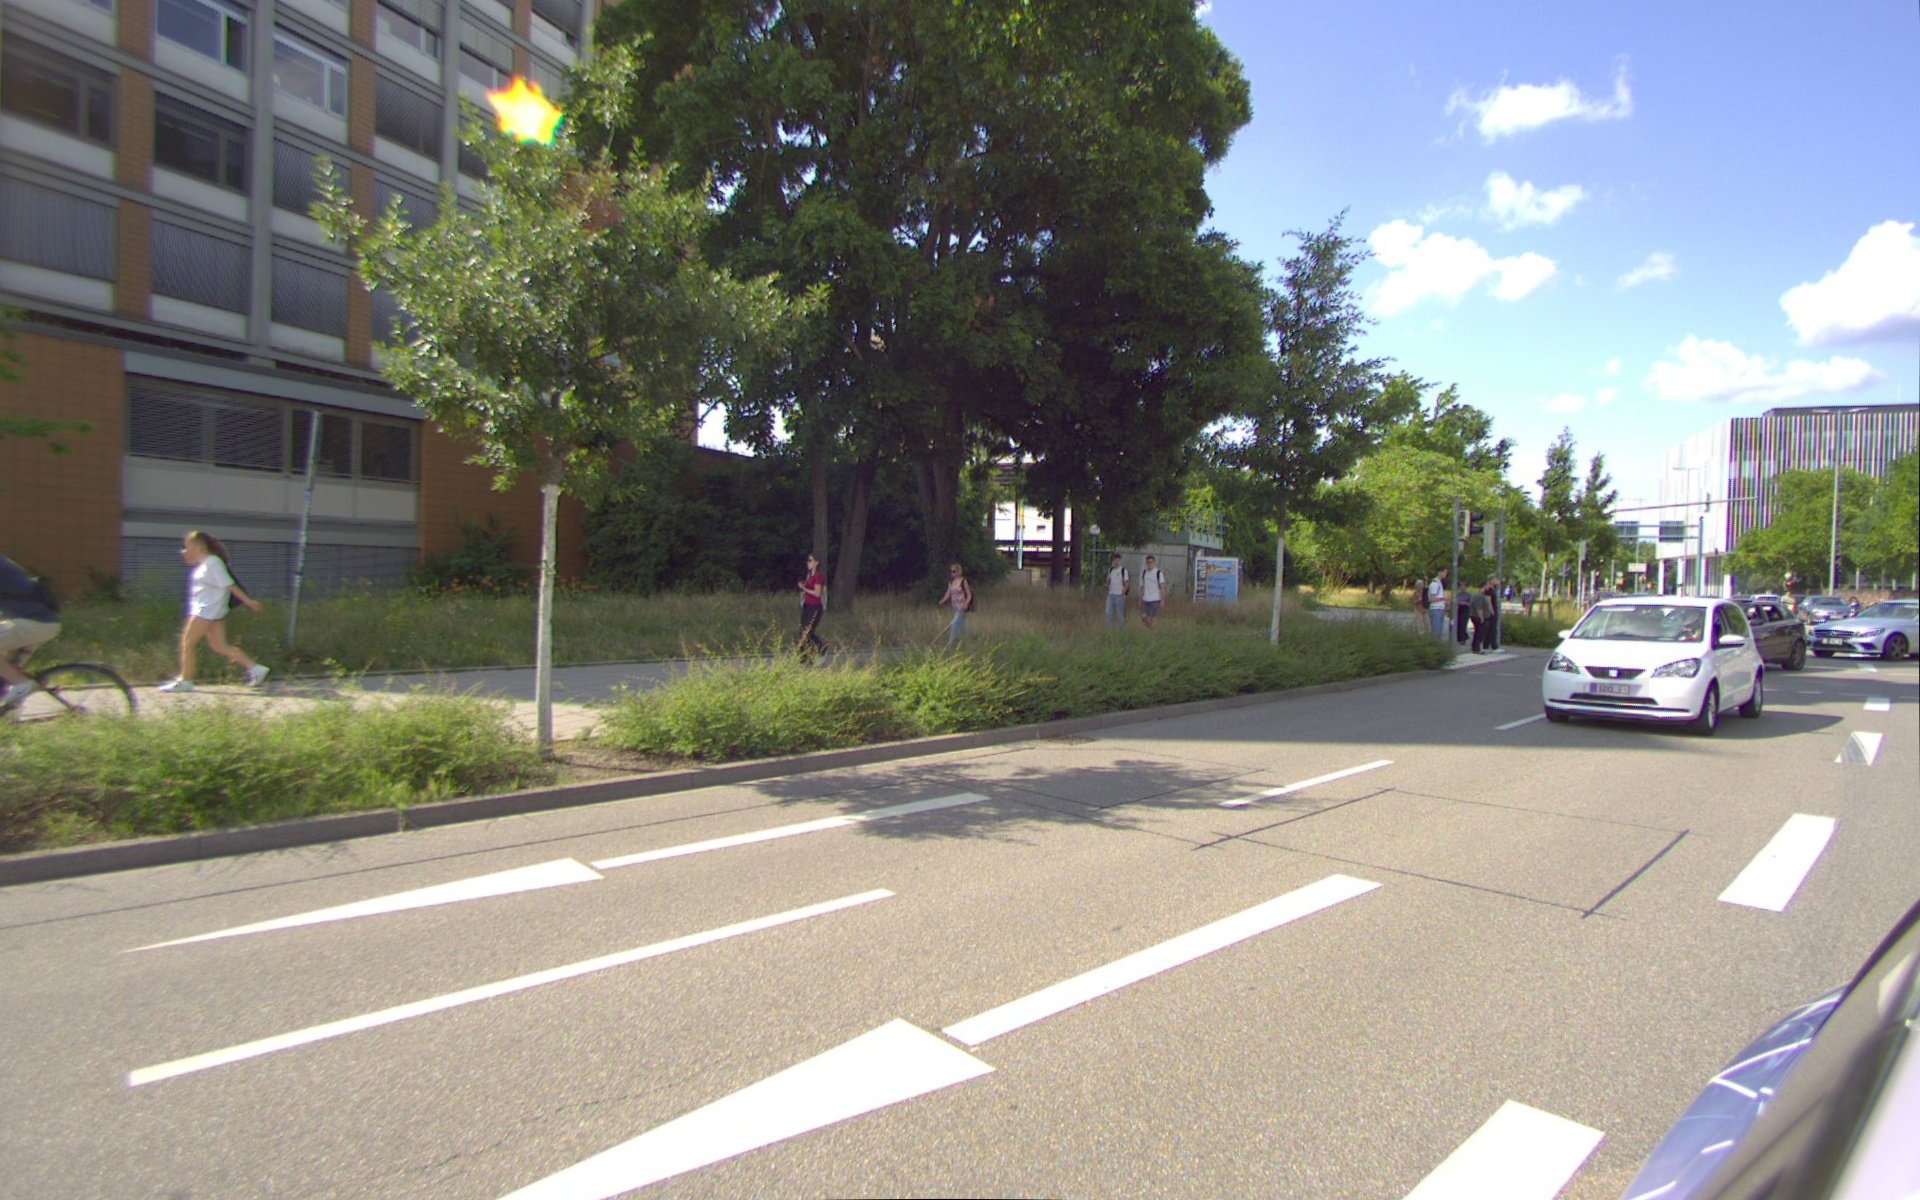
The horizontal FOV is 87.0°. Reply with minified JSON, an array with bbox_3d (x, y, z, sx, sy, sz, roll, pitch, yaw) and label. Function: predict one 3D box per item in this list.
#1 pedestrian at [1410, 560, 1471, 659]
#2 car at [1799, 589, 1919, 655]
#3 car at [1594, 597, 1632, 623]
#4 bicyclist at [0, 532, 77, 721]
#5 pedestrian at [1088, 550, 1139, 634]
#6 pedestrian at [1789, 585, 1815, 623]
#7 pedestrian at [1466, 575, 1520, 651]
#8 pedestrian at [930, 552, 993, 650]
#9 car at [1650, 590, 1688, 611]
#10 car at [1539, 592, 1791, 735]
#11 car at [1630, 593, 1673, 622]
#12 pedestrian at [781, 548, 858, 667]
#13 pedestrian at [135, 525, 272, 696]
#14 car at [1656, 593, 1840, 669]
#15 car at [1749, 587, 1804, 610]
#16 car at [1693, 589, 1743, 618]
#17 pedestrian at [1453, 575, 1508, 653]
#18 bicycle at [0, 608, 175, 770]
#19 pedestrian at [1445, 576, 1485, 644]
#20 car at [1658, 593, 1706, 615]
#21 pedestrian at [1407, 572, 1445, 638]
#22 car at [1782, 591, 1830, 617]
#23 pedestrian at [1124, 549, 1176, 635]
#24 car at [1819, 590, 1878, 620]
[{"bbox_3d":[10.277,0.192,21.664,0.755,2.039,0.963,0,0,-43],"label":"pedestrian"},{"bbox_3d":[23.114,0.494,24.274,4.661,1.473,1.940,0,1,-8],"label":"car"},{"bbox_3d":[39.203,0.569,60.722,1.815,1.481,3.950,1,1,35],"label":"car"},{"bbox_3d":[-6.571,0.160,6.823,0.907,1.235,0.636,1,3,-41],"label":"bicyclist"},{"bbox_3d":[3.263,-0.177,21.466,0.614,1.720,0.876,5,4,44],"label":"pedestrian"},{"bbox_3d":[39.422,0.179,47.381,0.731,1.736,0.868,0,0,27],"label":"pedestrian"},{"bbox_3d":[12.631,0.298,23.993,0.755,1.757,0.926,0,0,-43],"label":"pedestrian"},{"bbox_3d":[0.025,0.006,17.721,0.614,1.642,0.876,5,4,44],"label":"pedestrian"},{"bbox_3d":[44.718,-0.014,63.834,1.898,1.148,4.052,1,3,35],"label":"car"},{"bbox_3d":[8.659,0.635,12.304,3.931,1.439,1.652,0,1,-42],"label":"car"},{"bbox_3d":[36.833,0.361,53.863,1.816,1.481,3.949,1,1,36],"label":"car"},{"bbox_3d":[-2.035,0.092,14.656,0.874,1.642,0.615,0,4,-41],"label":"pedestrian"},{"bbox_3d":[-7.704,0.081,10.317,1.077,1.642,0.615,0,4,-41],"label":"pedestrian"},{"bbox_3d":[16.039,0.558,20.554,4.052,1.389,1.705,0,1,-33],"label":"car"},{"bbox_3d":[50.451,-0.104,62.606,1.761,1.371,3.966,0,1,25],"label":"car"},{"bbox_3d":[39.867,0.158,53.284,1.814,1.481,3.952,1,1,33],"label":"car"},{"bbox_3d":[12.068,0.313,23.477,0.755,1.757,0.926,0,0,-43],"label":"pedestrian"},{"bbox_3d":[-6.572,0.590,6.866,1.927,0.981,0.849,0,4,-41],"label":"bicycle"},{"bbox_3d":[13.156,0.253,26.361,0.765,1.757,0.708,0,0,41],"label":"pedestrian"},{"bbox_3d":[41.408,0.196,58.107,1.582,1.148,3.597,1,1,25],"label":"car"},{"bbox_3d":[12.527,0.131,27.182,0.765,1.757,0.708,0,0,41],"label":"pedestrian"},{"bbox_3d":[47.051,0.202,56.349,1.722,1.351,3.742,0,1,35],"label":"car"},{"bbox_3d":[3.939,-0.180,20.969,0.614,1.720,0.876,5,4,44],"label":"pedestrian"},{"bbox_3d":[43.857,0.200,50.014,1.990,1.393,4.210,1,1,39],"label":"car"}]
